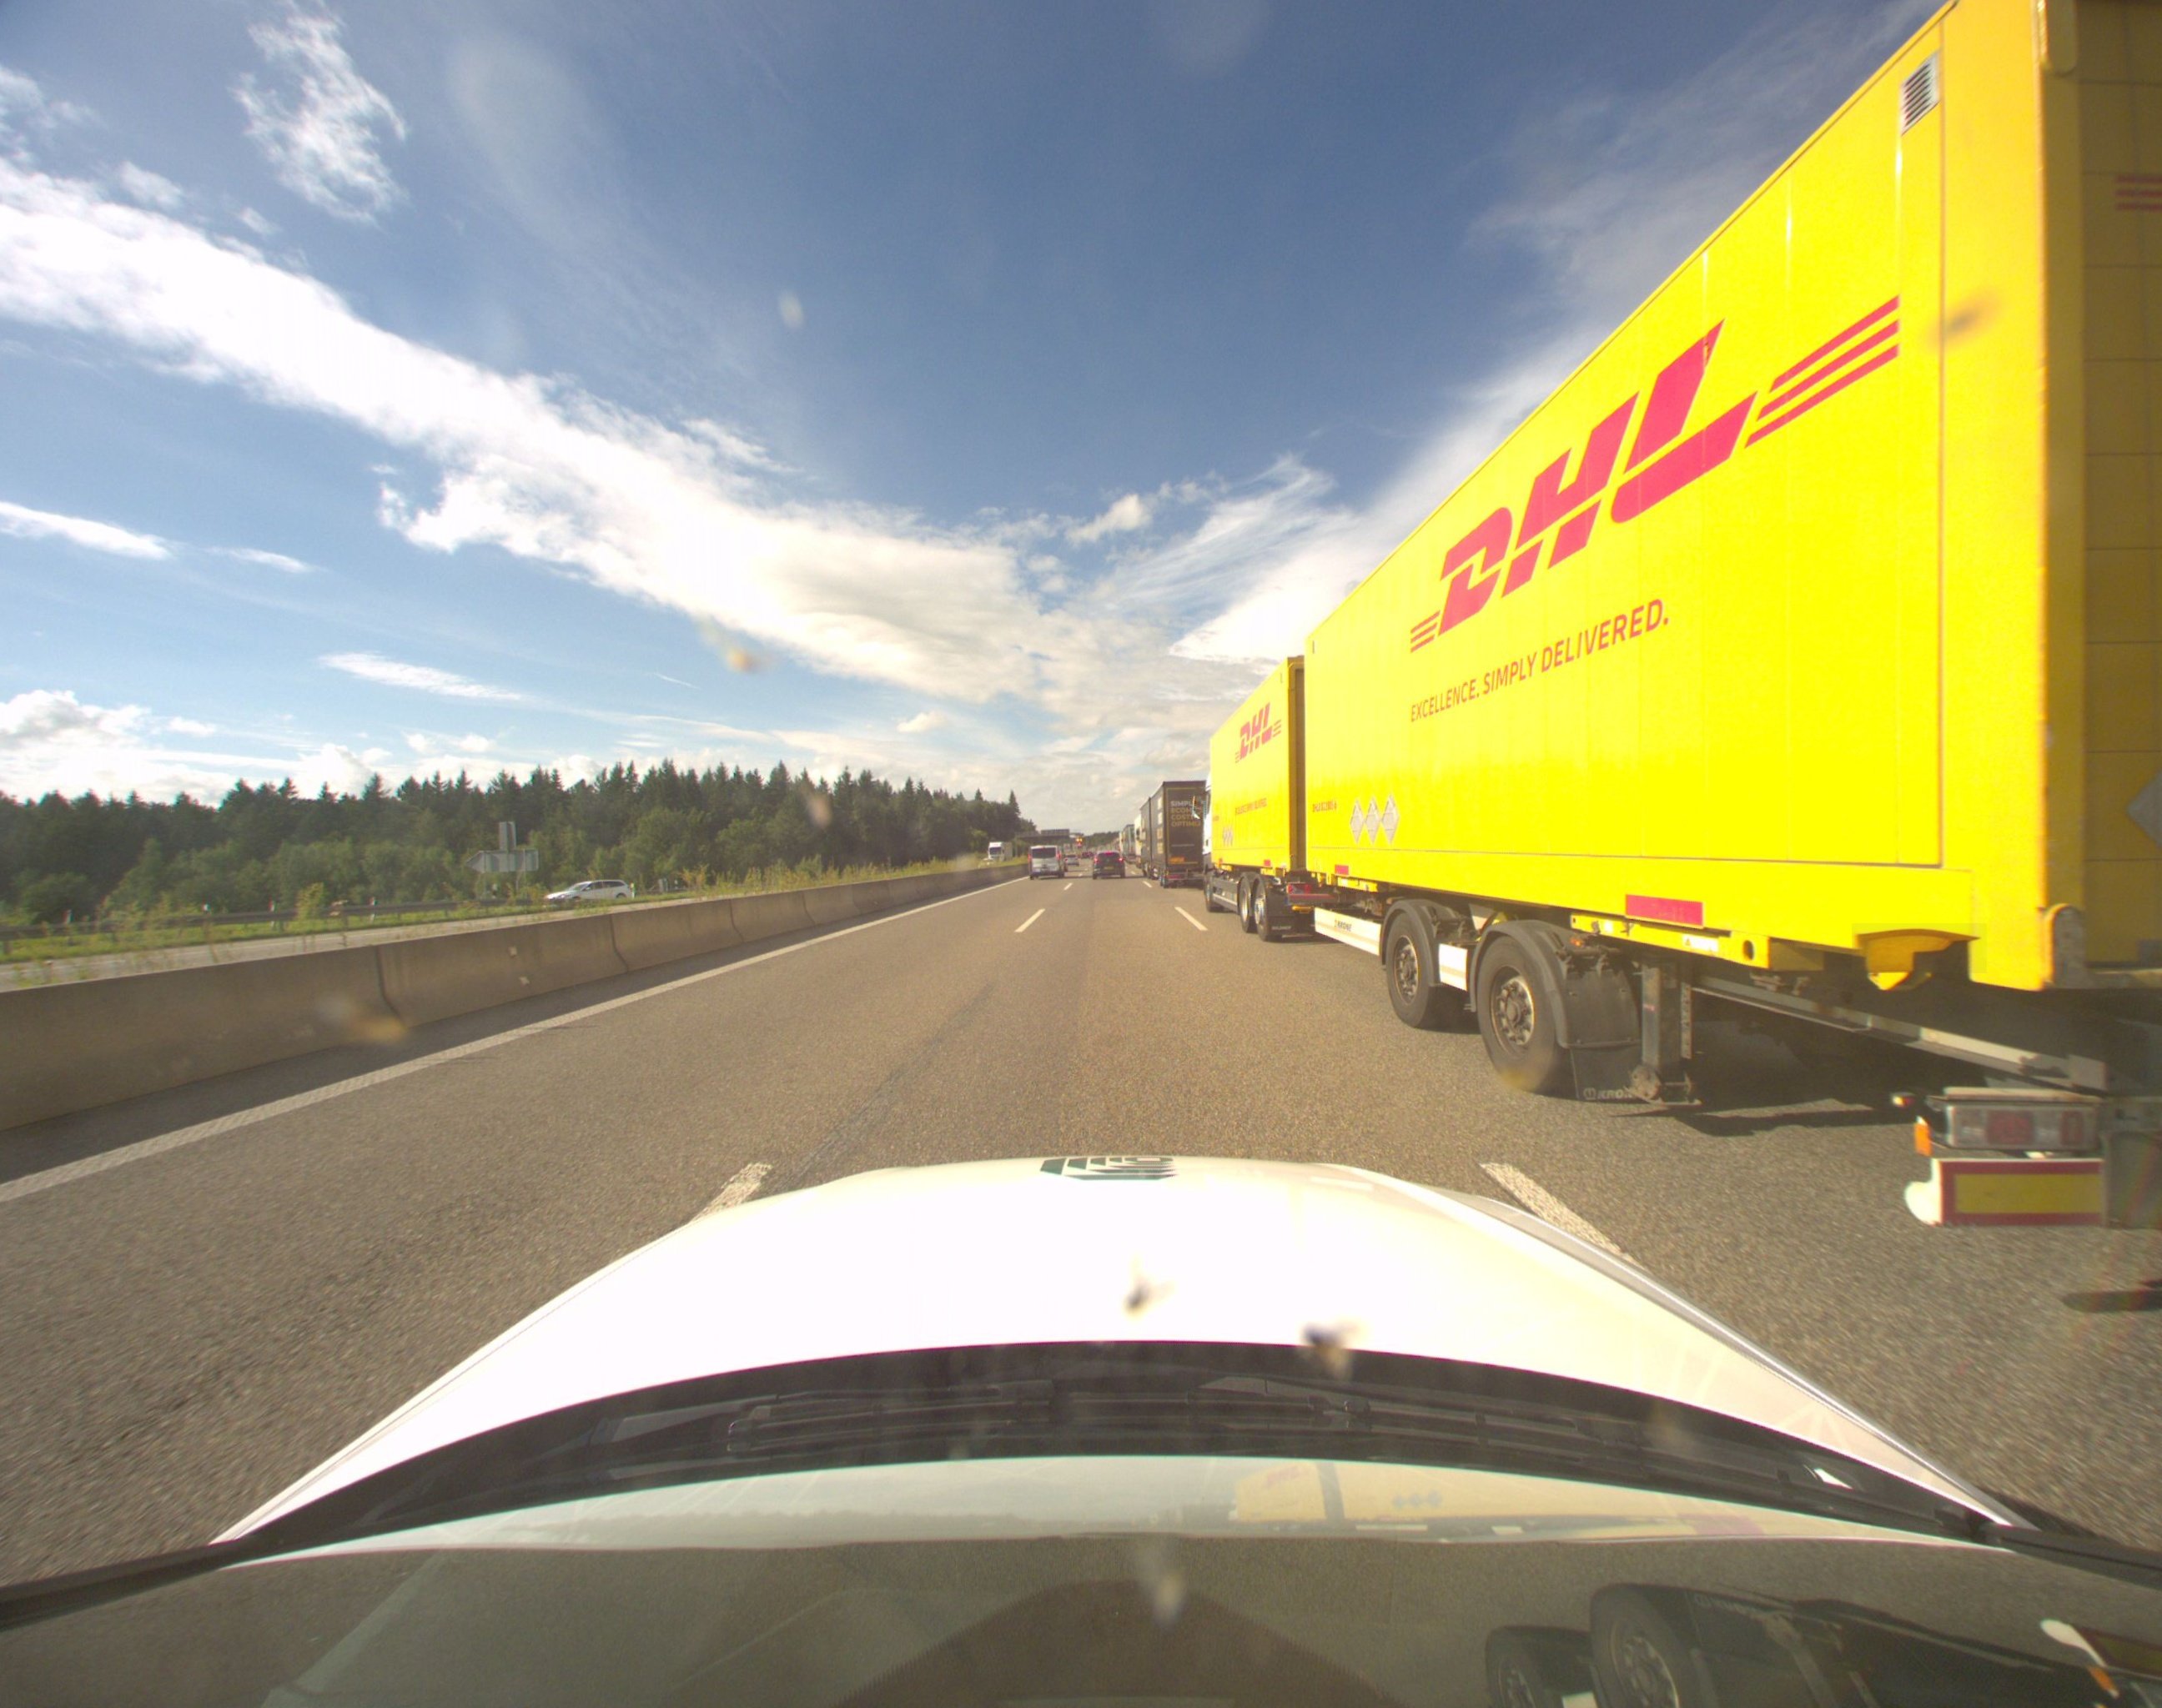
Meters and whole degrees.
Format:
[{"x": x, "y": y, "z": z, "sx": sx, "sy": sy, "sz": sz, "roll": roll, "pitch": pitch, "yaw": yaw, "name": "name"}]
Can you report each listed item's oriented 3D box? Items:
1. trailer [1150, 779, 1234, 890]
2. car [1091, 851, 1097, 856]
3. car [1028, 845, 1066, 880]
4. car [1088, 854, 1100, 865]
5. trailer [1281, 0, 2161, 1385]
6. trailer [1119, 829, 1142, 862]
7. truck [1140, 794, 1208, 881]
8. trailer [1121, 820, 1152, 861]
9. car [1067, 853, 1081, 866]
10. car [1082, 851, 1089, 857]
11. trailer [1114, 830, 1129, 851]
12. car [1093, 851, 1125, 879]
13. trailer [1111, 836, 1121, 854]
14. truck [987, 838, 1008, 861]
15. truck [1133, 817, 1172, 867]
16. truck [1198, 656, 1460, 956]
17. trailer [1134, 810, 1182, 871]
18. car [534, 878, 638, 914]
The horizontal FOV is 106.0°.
[{"x": 4.352, "y": -0.761, "z": 33.717, "sx": 2.705, "sy": 3.960, "sz": 8.718, "roll": -1, "pitch": 1, "yaw": 3, "name": "trailer"}, {"x": 3.124, "y": -0.118, "z": 194.788, "sx": 1.429, "sy": 1.310, "sz": 3.534, "roll": -1, "pitch": 0, "yaw": 1, "name": "car"}, {"x": -2.012, "y": 0.486, "z": 49.429, "sx": 1.925, "sy": 1.979, "sz": 5.100, "roll": -1, "pitch": 0, "yaw": 2, "name": "car"}, {"x": 1.764, "y": 0.769, "z": 109.674, "sx": 1.576, "sy": 1.396, "sz": 3.207, "roll": -1, "pitch": 0, "yaw": 0, "name": "car"}, {"x": 3.828, "y": -0.652, "z": 6.634, "sx": 2.403, "sy": 4.068, "sz": 8.930, "roll": -1, "pitch": 0, "yaw": 2, "name": "trailer"}, {"x": 6.801, "y": -1.150, "z": 113.498, "sx": 2.693, "sy": 4.081, "sz": 12.950, "roll": -4, "pitch": 0, "yaw": 2, "name": "trailer"}, {"x": 4.721, "y": -0.784, "z": 43.180, "sx": 2.730, "sy": 4.038, "sz": 10.207, "roll": -1, "pitch": 0, "yaw": 2, "name": "truck"}, {"x": 5.835, "y": -1.330, "z": 87.673, "sx": 2.651, "sy": 3.868, "sz": 13.400, "roll": -3, "pitch": 0, "yaw": 2, "name": "trailer"}, {"x": -0.819, "y": 0.605, "z": 93.536, "sx": 1.494, "sy": 1.396, "sz": 3.477, "roll": -1, "pitch": 0, "yaw": 2, "name": "car"}, {"x": 0.877, "y": -0.030, "z": 162.816, "sx": 1.429, "sy": 1.310, "sz": 3.534, "roll": -1, "pitch": 0, "yaw": 1, "name": "car"}, {"x": 8.796, "y": -2.832, "z": 177.997, "sx": 2.791, "sy": 4.243, "sz": 11.064, "roll": -4, "pitch": 0, "yaw": 3, "name": "trailer"}, {"x": 1.529, "y": 0.571, "z": 45.321, "sx": 1.690, "sy": 1.483, "sz": 4.161, "roll": -1, "pitch": 0, "yaw": 2, "name": "car"}, {"x": 8.752, "y": -2.203, "z": 204.191, "sx": 2.141, "sy": 4.259, "sz": 8.445, "roll": -3, "pitch": 0, "yaw": 2, "name": "trailer"}, {"x": -14.850, "y": -0.744, "z": 145.585, "sx": 2.809, "sy": 3.975, "sz": 5.834, "roll": -3, "pitch": 0, "yaw": 1, "name": "truck"}, {"x": 5.865, "y": -0.956, "z": 67.862, "sx": 2.791, "sy": 3.938, "sz": 5.829, "roll": -2, "pitch": 0, "yaw": 2, "name": "truck"}, {"x": 4.073, "y": -0.679, "z": 15.939, "sx": 2.403, "sy": 4.068, "sz": 9.668, "roll": -1, "pitch": 0, "yaw": 2, "name": "truck"}, {"x": 5.555, "y": -0.872, "z": 60.733, "sx": 2.781, "sy": 3.938, "sz": 13.077, "roll": -2, "pitch": 0, "yaw": 2, "name": "trailer"}, {"x": -28.280, "y": 2.374, "z": 46.756, "sx": 1.977, "sy": 1.799, "sz": 5.001, "roll": -1, "pitch": 0, "yaw": 19, "name": "car"}]
